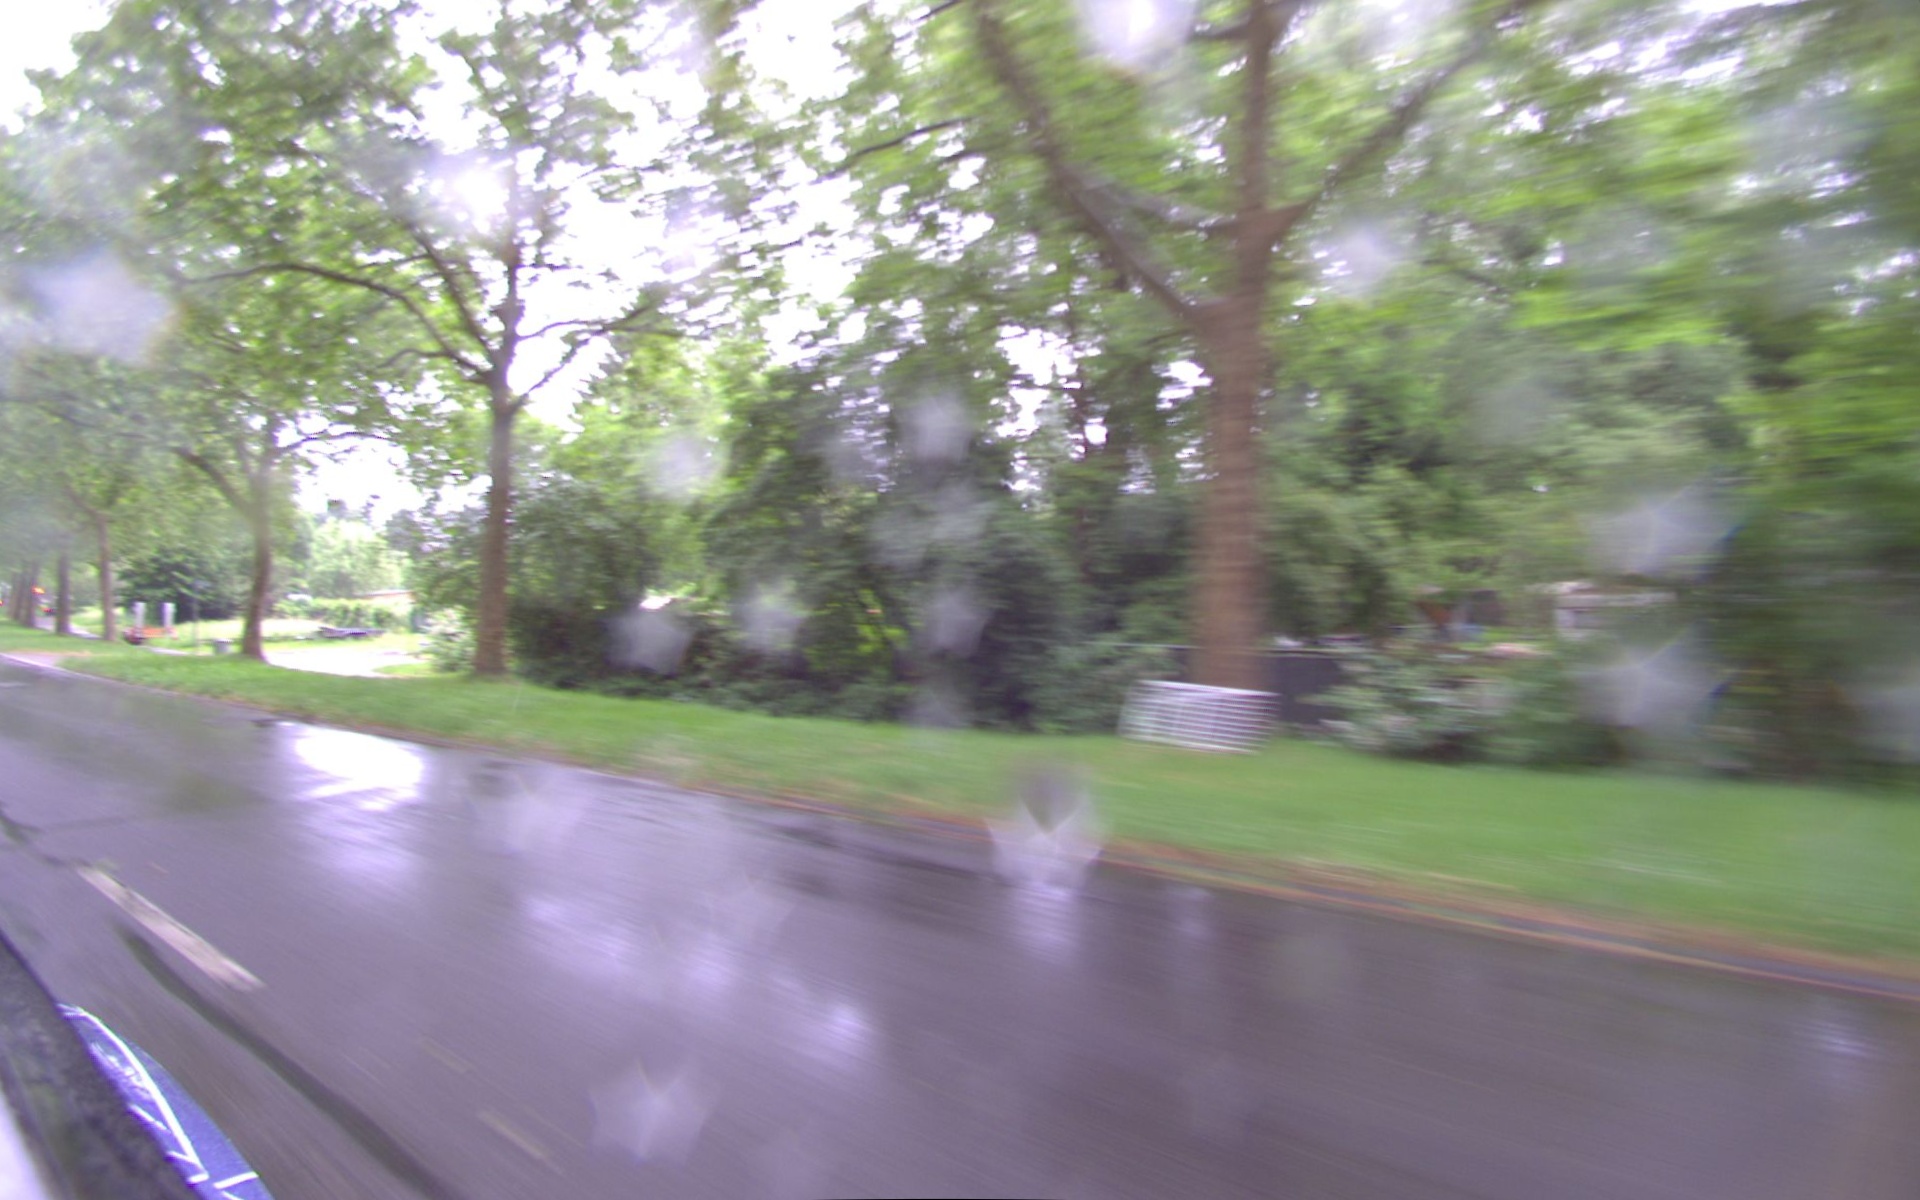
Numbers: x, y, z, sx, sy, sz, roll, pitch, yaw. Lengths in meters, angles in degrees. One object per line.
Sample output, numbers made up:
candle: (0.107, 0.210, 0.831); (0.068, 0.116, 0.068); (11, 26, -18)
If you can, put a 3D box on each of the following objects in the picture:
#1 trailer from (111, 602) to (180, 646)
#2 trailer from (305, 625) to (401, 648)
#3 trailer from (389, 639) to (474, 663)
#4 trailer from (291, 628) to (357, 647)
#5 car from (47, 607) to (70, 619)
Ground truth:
trailer: (-53.327, 1.484, 66.196); (6.655, 2.683, 2.766); (0, 1, 45)
trailer: (-35.402, 2.110, 59.080); (2.381, 1.040, 4.271); (0, 1, 41)
trailer: (-23.326, 2.219, 44.718); (2.994, 0.844, 1.679); (-1, 1, -45)
trailer: (-38.223, 2.258, 60.837); (1.769, 0.951, 3.042); (0, 1, 43)
car: (-130.868, 1.874, 146.959); (1.868, 1.695, 4.011); (-1, 1, -33)
